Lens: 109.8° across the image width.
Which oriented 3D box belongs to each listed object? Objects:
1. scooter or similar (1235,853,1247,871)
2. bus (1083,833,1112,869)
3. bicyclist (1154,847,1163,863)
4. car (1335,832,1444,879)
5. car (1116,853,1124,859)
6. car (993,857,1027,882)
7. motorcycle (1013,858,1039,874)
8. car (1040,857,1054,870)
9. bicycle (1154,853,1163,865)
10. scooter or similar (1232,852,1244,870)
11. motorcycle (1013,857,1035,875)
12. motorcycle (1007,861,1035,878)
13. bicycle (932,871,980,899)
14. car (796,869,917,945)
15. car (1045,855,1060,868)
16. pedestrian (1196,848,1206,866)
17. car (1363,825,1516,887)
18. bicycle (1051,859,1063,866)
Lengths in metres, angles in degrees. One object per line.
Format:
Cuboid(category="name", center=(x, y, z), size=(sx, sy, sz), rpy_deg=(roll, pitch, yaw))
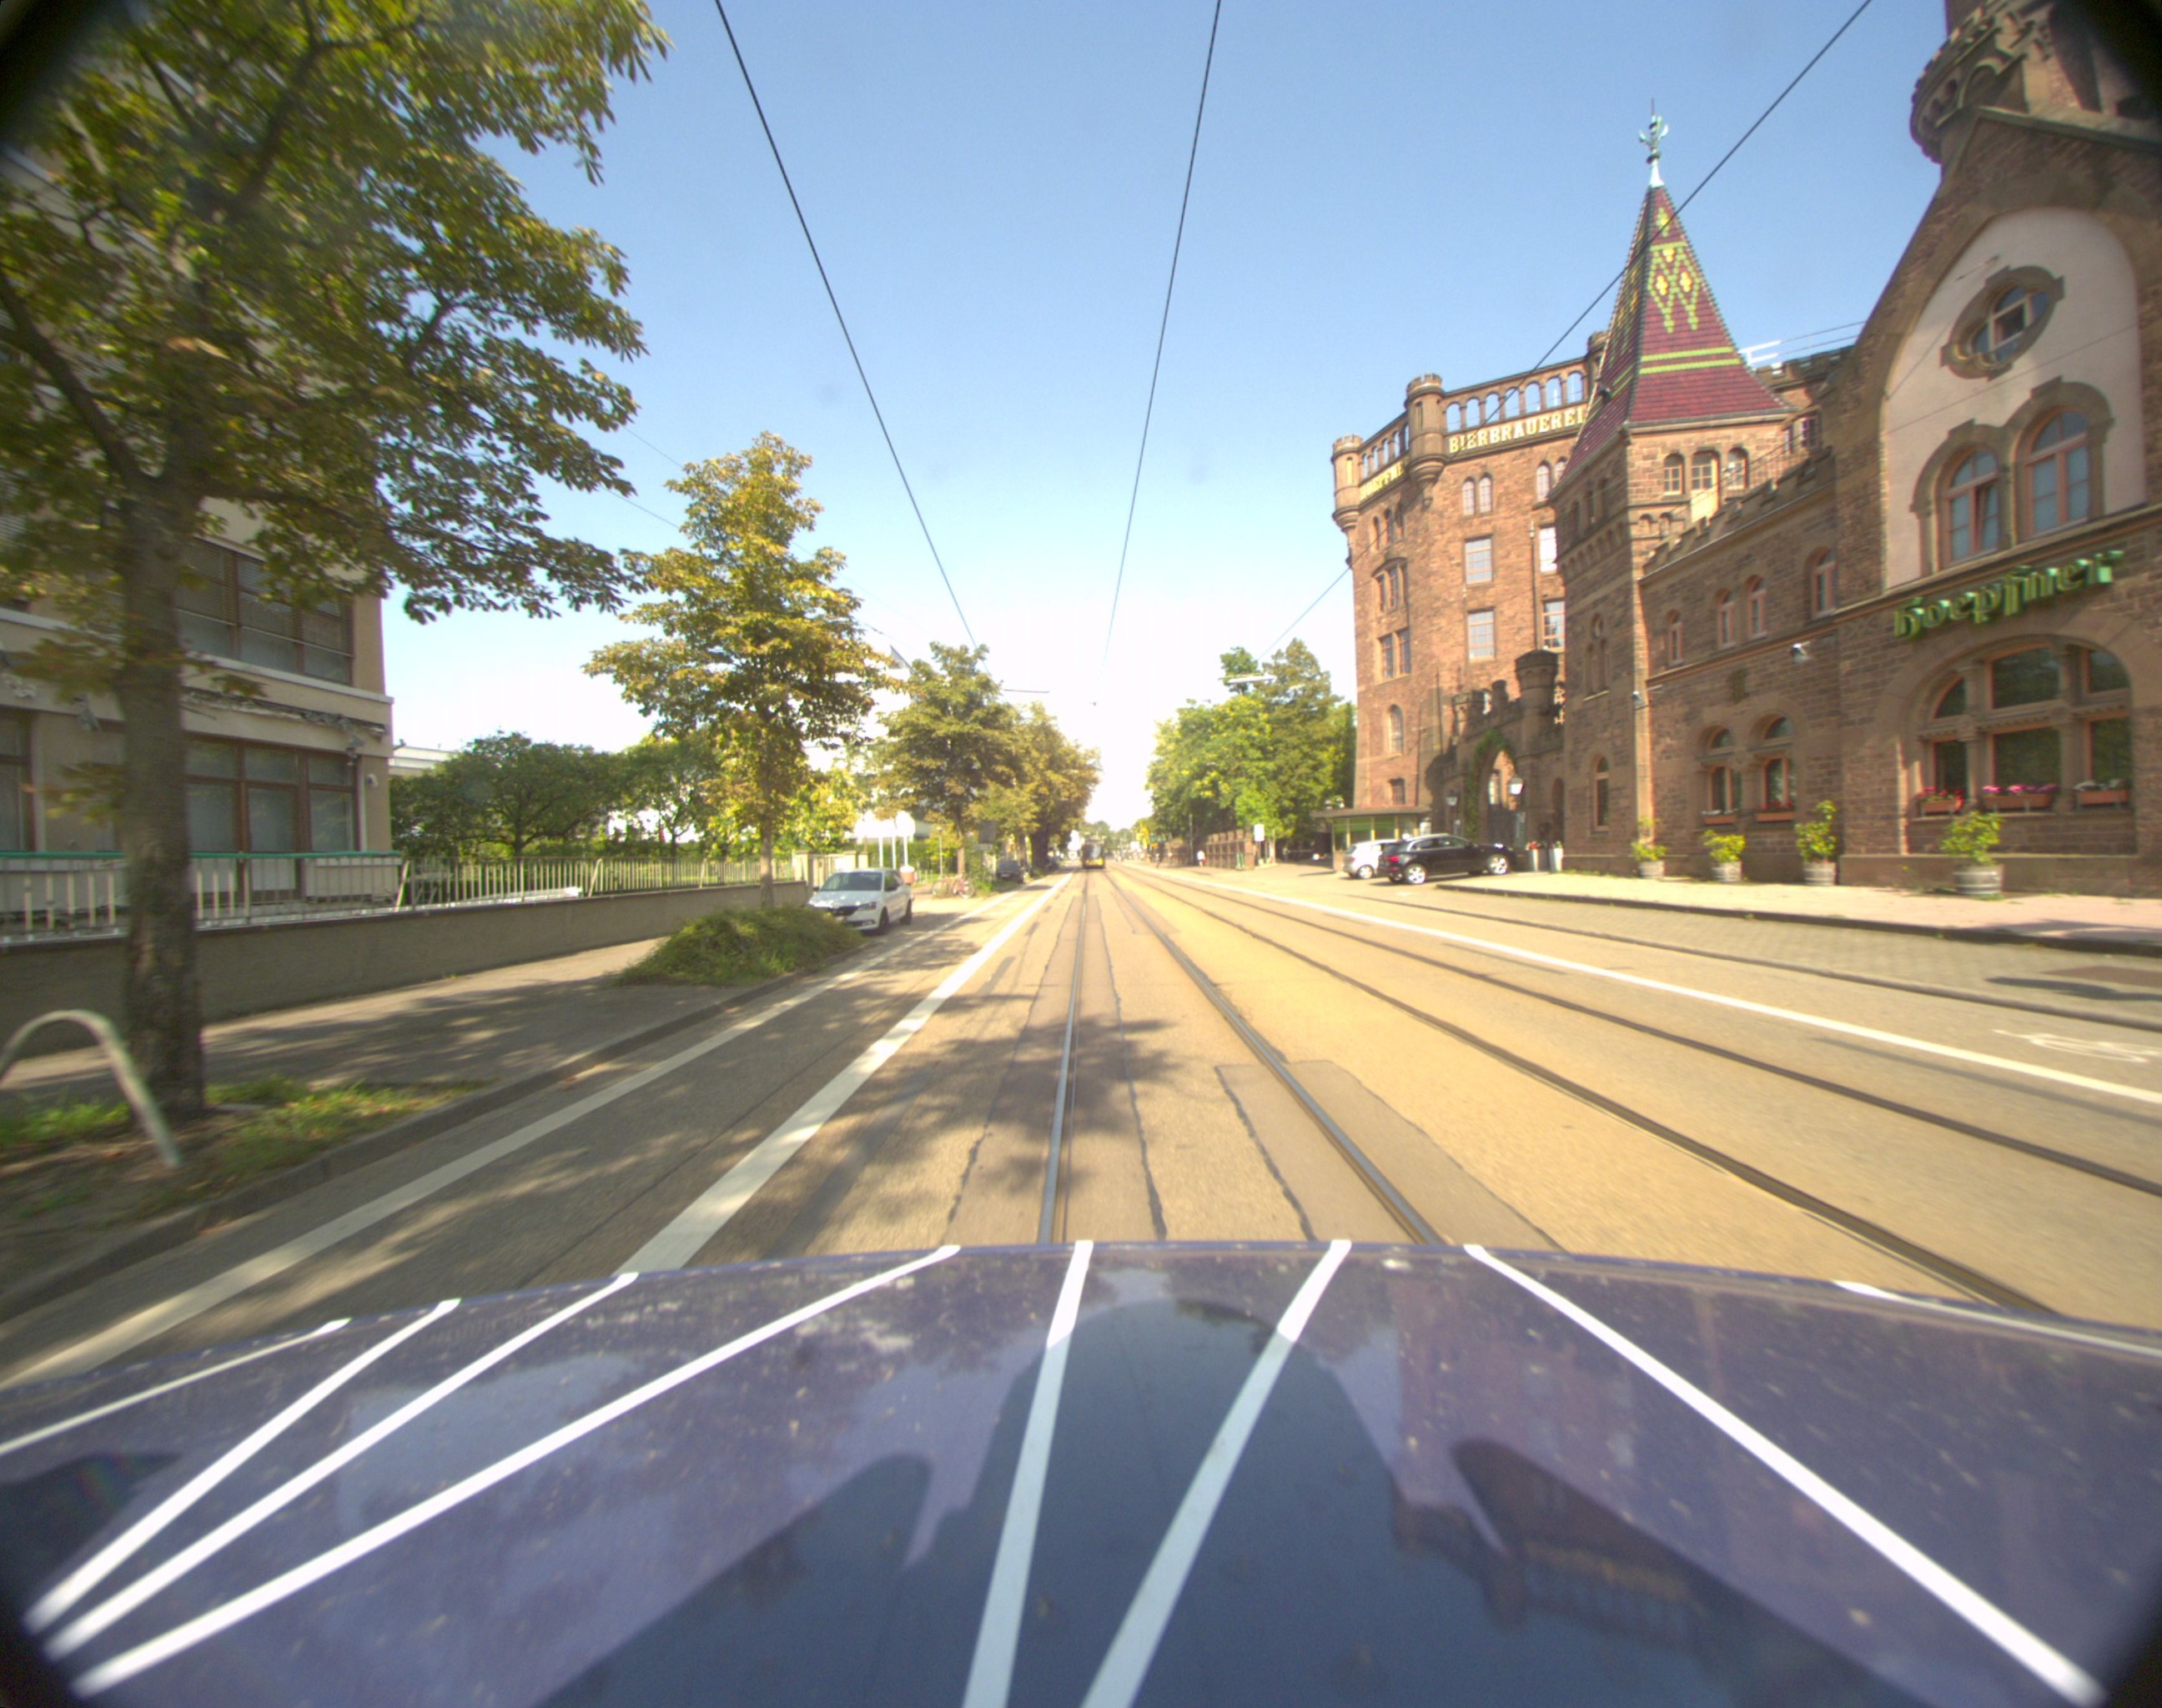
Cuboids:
Cuboid(category="scooter or similar", center=(11.067, 0.548, 52.463), size=(0.818, 1.142, 0.283), rpy_deg=(-6, 3, -35))
Cuboid(category="bus", center=(1.944, -0.335, 87.359), size=(2.900, 3.771, 9.319), rpy_deg=(-2, 0, 3))
Cuboid(category="bicyclist", center=(8.088, 0.089, 79.205), size=(0.699, 1.571, 1.087), rpy_deg=(-2, 2, -1))
Cuboid(category="car", center=(13.348, 0.070, 33.044), size=(3.908, 1.586, 1.823), rpy_deg=(-6, 0, 3))
Cuboid(category="car", center=(9.781, 0.378, 190.177), size=(1.694, 1.433, 4.000), rpy_deg=(-2, 0, 1))
Cuboid(category="car", center=(-4.457, 0.974, 48.349), size=(1.745, 1.477, 4.437), rpy_deg=(-1, 0, 0))
Cuboid(category="motorcycle", center=(-4.318, 0.960, 59.634), size=(2.061, 1.236, 0.846), rpy_deg=(0, 1, 39))
Cuboid(category="car", center=(-3.938, 1.115, 88.176), size=(1.566, 1.433, 3.563), rpy_deg=(1, 0, -2))
Cuboid(category="bicycle", center=(8.089, 0.551, 79.229), size=(0.699, 1.151, 2.037), rpy_deg=(-2, 1, -1))
Cuboid(category="scooter or similar", center=(11.070, 0.493, 53.696), size=(0.818, 1.142, 0.283), rpy_deg=(-6, 3, -35))
Cuboid(category="motorcycle", center=(-4.363, 0.908, 57.972), size=(0.846, 1.319, 2.062), rpy_deg=(-1, 1, -28))
Cuboid(category="motorcycle", center=(-4.395, 1.145, 55.504), size=(1.984, 1.218, 0.647), rpy_deg=(-2, 1, 26))
Cuboid(category="bicycle", center=(-4.971, 1.212, 30.244), size=(1.773, 1.058, 0.796), rpy_deg=(0, 1, -1))
Cuboid(category="car", center=(-5.052, 1.126, 17.634), size=(1.644, 1.421, 3.988), rpy_deg=(-1, 1, -1))
Cuboid(category="car", center=(-3.779, 0.996, 100.336), size=(1.866, 1.643, 4.183), rpy_deg=(-1, 0, 0))
Cuboid(category="pedestrian", center=(10.917, 0.287, 69.080), size=(0.717, 1.580, 0.775), rpy_deg=(-2, 1, 0))
Cuboid(category="car", center=(12.651, 0.061, 27.039), size=(4.407, 1.636, 1.957), rpy_deg=(-6, 0, 2))
Cuboid(category="bicycle", center=(-3.526, 1.206, 111.292), size=(1.621, 1.009, 0.382), rpy_deg=(-2, 0, -2))
